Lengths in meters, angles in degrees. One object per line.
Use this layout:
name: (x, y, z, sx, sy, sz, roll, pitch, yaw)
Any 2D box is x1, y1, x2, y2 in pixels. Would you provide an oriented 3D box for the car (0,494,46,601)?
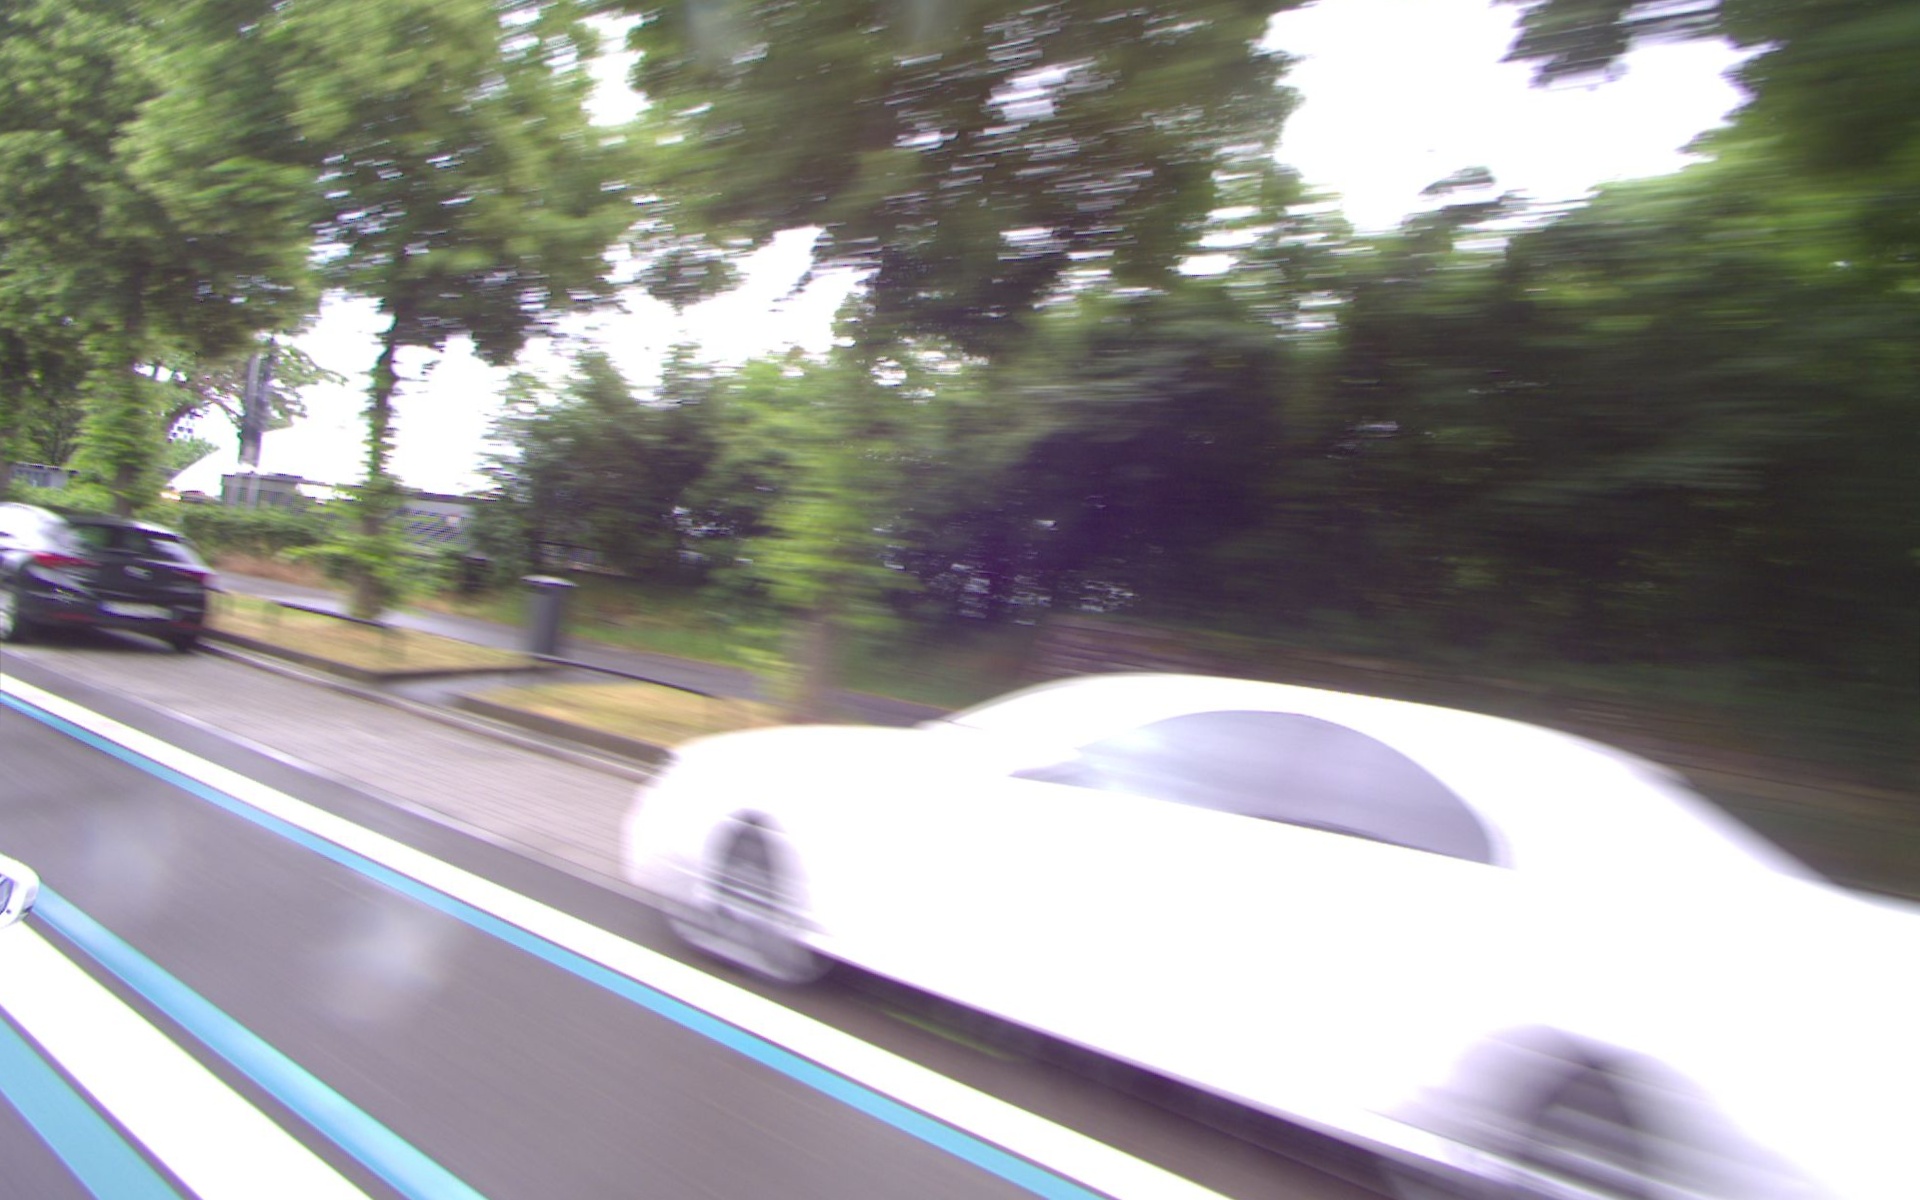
car: (-15.593, -0.999, 14.994, 4.004, 1.481, 1.734, 7, 0, 30)

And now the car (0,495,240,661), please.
car: (-10.474, -0.366, 11.699, 4.205, 1.480, 1.735, 7, -1, 30)

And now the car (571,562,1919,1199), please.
car: (0.873, 0.950, 4.029, 4.807, 1.560, 1.793, 7, -2, 30)
